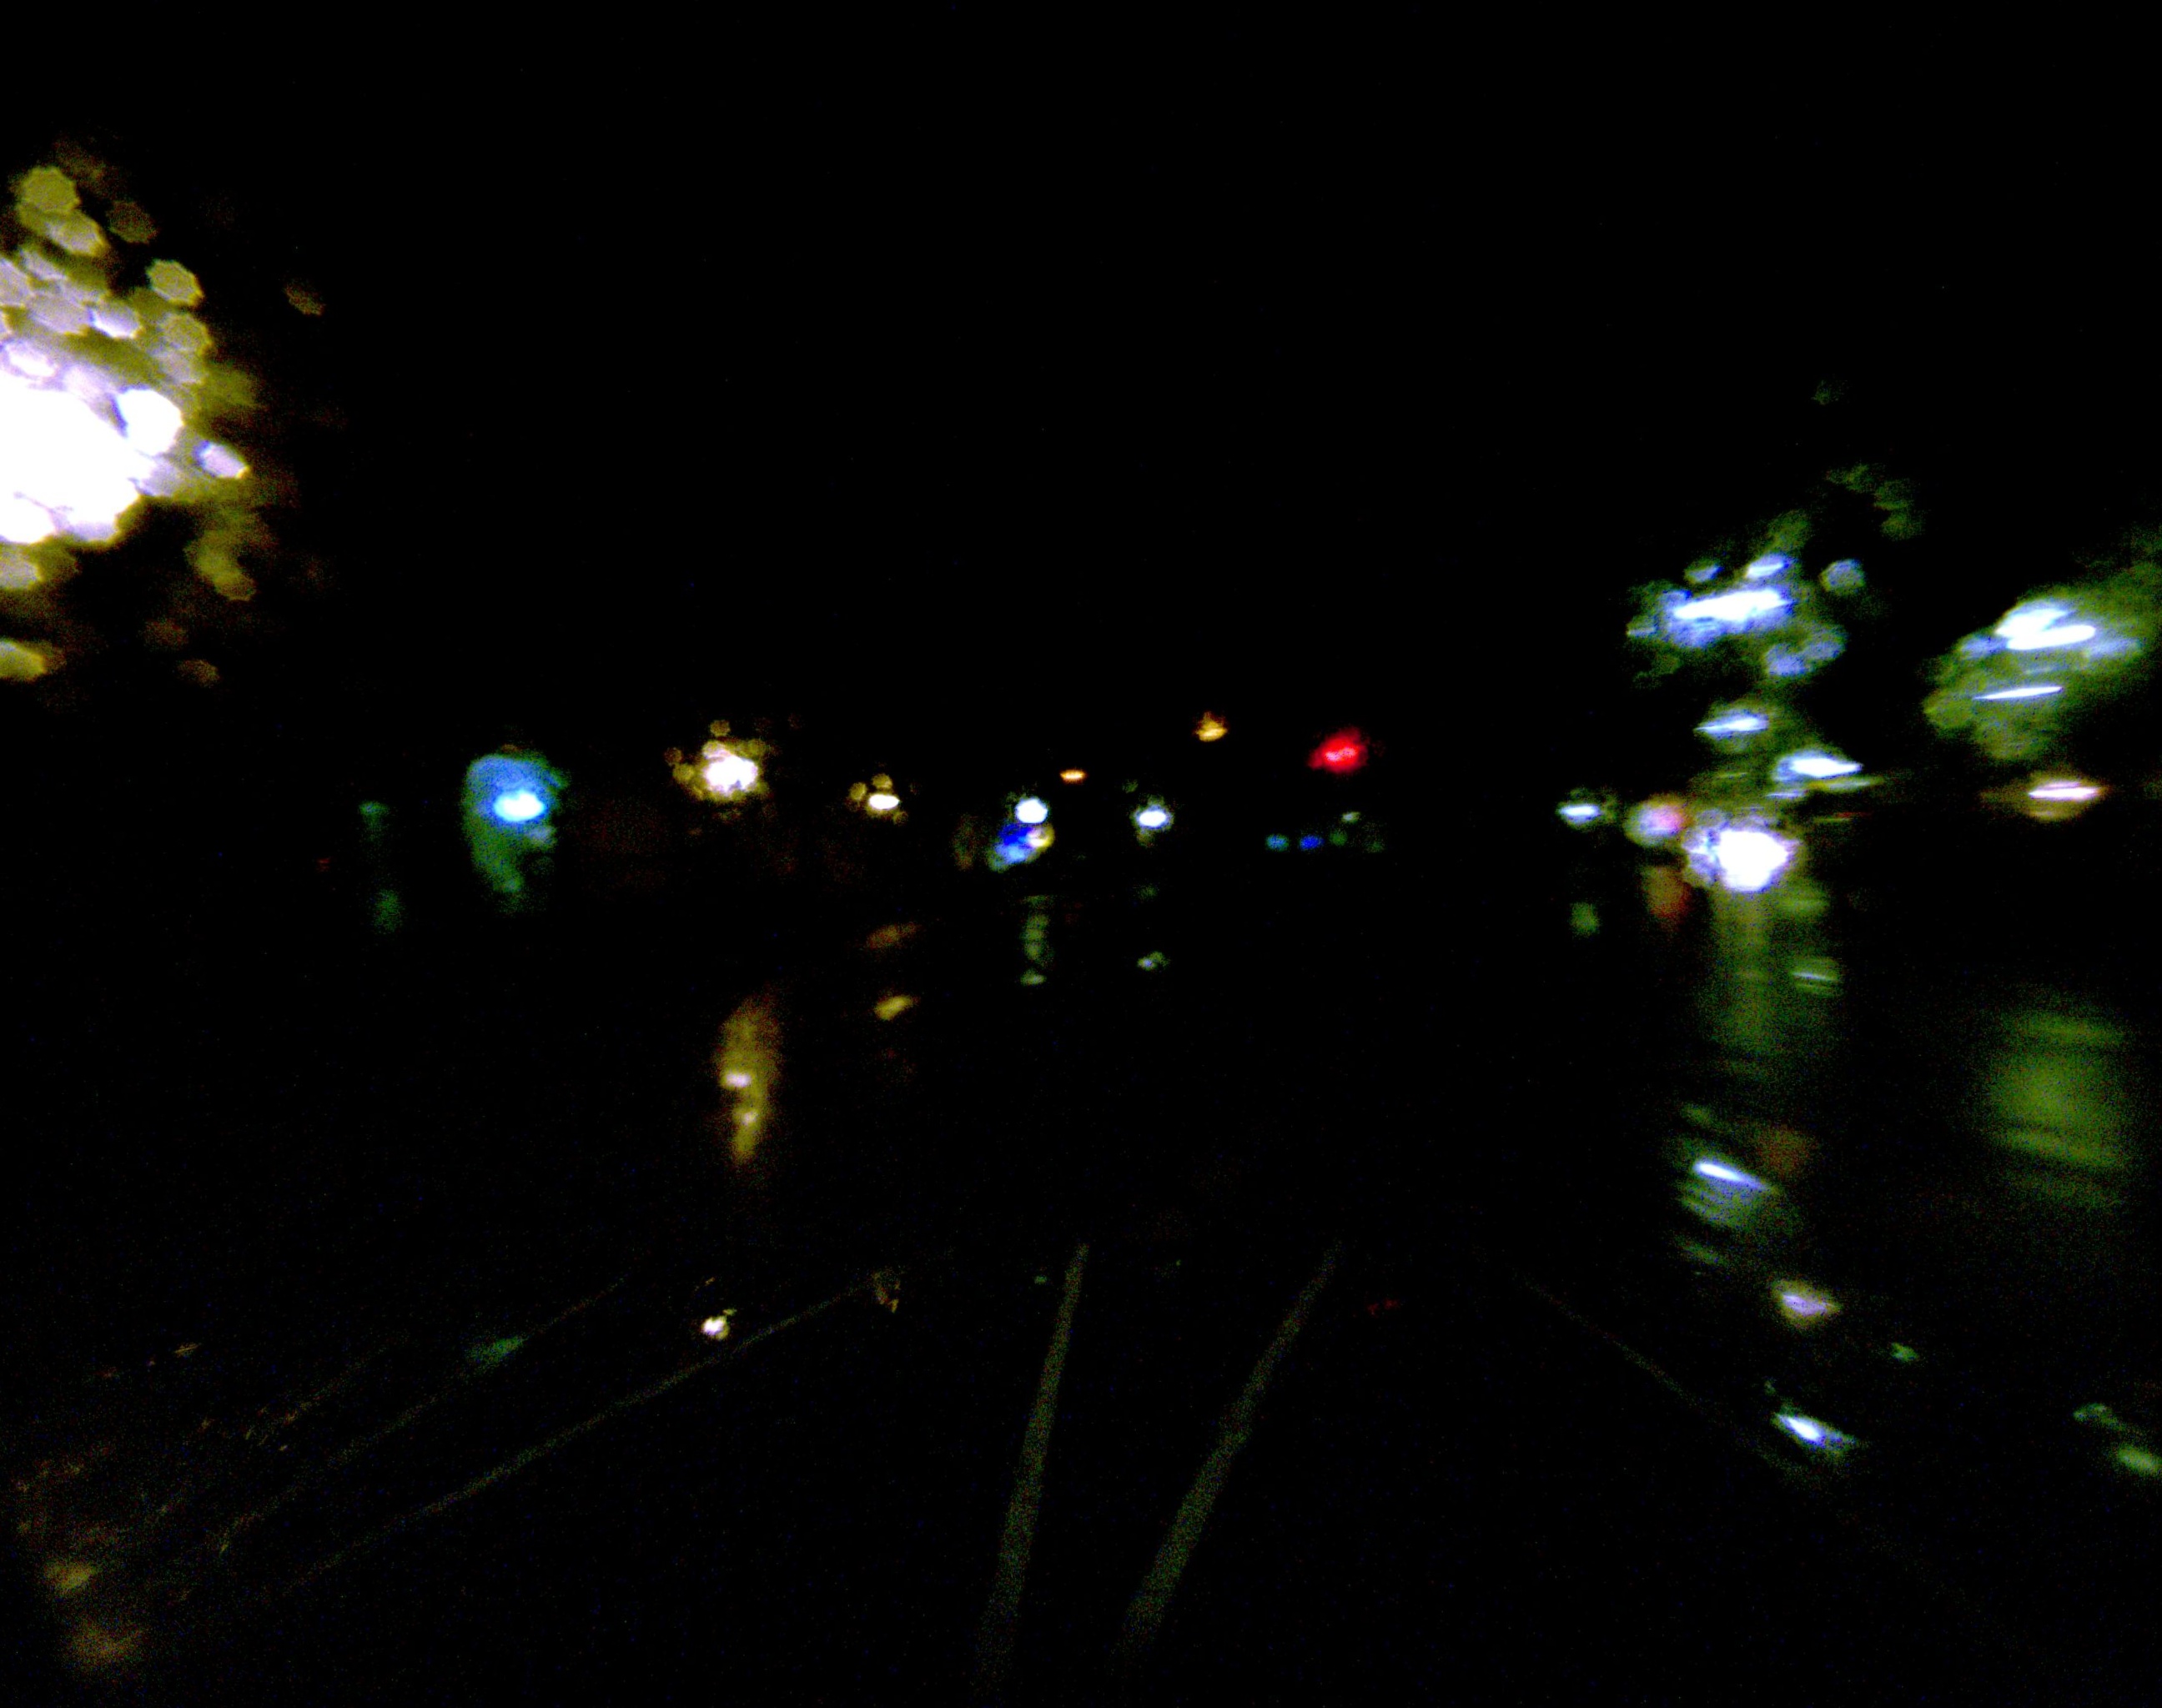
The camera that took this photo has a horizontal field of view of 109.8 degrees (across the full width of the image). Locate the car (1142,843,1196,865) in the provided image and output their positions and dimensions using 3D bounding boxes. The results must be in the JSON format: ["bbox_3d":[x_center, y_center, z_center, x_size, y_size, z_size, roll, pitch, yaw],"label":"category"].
[{"bbox_3d":[6.936,0.042,60.101,1.891,1.584,4.486,-4,1,-29],"label":"car"}]

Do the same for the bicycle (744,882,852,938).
[{"bbox_3d":[-5.891,1.158,15.881,1.974,1.059,0.642,-2,1,-5],"label":"bicycle"}]

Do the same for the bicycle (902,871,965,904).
[{"bbox_3d":[-4.835,1.087,24.865,1.970,1.001,0.643,-1,2,24],"label":"bicycle"}]

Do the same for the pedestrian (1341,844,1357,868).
[{"bbox_3d":[17.475,0.111,49.545,0.766,1.484,0.635,-4,0,37],"label":"pedestrian"}]

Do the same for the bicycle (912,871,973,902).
[{"bbox_3d":[-4.652,1.080,25.591,1.970,1.001,0.643,-1,2,24],"label":"bicycle"}]

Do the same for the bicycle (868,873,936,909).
[{"bbox_3d":[-5.398,1.095,22.878,1.970,1.028,0.643,-1,2,24],"label":"bicycle"}]

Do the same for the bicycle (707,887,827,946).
[{"bbox_3d":[-5.959,1.183,14.504,1.974,1.001,0.642,-2,1,-5],"label":"bicycle"}]

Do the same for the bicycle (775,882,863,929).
[{"bbox_3d":[-6.028,1.174,17.458,1.970,1.001,0.643,-1,2,24],"label":"bicycle"}]

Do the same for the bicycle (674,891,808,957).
[{"bbox_3d":[-5.802,1.191,13.052,1.974,1.001,0.642,-2,1,-5],"label":"bicycle"}]

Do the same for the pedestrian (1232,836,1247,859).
[{"bbox_3d":[11.754,-0.447,56.356,0.635,1.628,0.841,-4,0,-26],"label":"pedestrian"}]

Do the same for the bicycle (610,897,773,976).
[{"bbox_3d":[-5.599,1.176,11.014,1.974,1.001,0.642,-2,1,-5],"label":"bicycle"}]

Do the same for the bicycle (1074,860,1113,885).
[{"bbox_3d":[0.570,0.877,35.105,1.621,1.076,0.565,-2,3,23],"label":"bicycle"}]

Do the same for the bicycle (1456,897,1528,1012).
[{"bbox_3d":[4.429,1.026,8.220,0.571,0.963,1.783,-4,0,28],"label":"bicycle"}]

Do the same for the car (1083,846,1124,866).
[{"bbox_3d":[2.031,0.222,69.439,1.883,1.694,4.277,-4,1,-27],"label":"car"}]

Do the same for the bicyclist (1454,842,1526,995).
[{"bbox_3d":[4.381,0.667,8.161,0.571,1.539,0.817,-4,0,28],"label":"bicyclist"}]

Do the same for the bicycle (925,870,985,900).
[{"bbox_3d":[-4.368,1.069,26.250,1.970,1.001,0.689,-1,1,24],"label":"bicycle"}]

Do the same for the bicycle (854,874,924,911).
[{"bbox_3d":[-5.626,1.115,22.210,1.970,1.001,0.643,-1,2,24],"label":"bicycle"}]

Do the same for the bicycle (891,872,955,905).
[{"bbox_3d":[-5.054,1.095,24.249,1.970,1.001,0.643,-1,2,24],"label":"bicycle"}]

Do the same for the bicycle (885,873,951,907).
[{"bbox_3d":[-5.047,1.099,23.541,1.970,1.001,0.643,-1,2,24],"label":"bicycle"}]

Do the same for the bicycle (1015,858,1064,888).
[{"bbox_3d":[-1.751,0.817,32.020,1.870,1.210,0.731,-1,2,24],"label":"bicycle"}]

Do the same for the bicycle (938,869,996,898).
[{"bbox_3d":[-4.047,1.057,27.050,1.928,0.982,0.731,-1,1,24],"label":"bicycle"}]

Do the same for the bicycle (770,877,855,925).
[{"bbox_3d":[-6.609,1.144,18.775,1.824,1.081,0.721,-2,1,-4],"label":"bicycle"}]

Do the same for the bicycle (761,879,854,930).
[{"bbox_3d":[-6.349,1.152,17.707,1.976,1.047,0.641,-2,1,-20],"label":"bicycle"}]

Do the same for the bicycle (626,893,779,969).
[{"bbox_3d":[-5.790,1.172,11.702,1.974,1.029,0.642,-2,1,-5],"label":"bicycle"}]

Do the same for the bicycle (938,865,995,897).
[{"bbox_3d":[-4.192,0.995,27.698,1.928,1.108,0.731,-1,1,24],"label":"bicycle"}]

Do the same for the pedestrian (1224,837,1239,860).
[{"bbox_3d":[11.104,-0.401,56.066,0.635,1.628,0.873,-4,0,-26],"label":"pedestrian"}]
